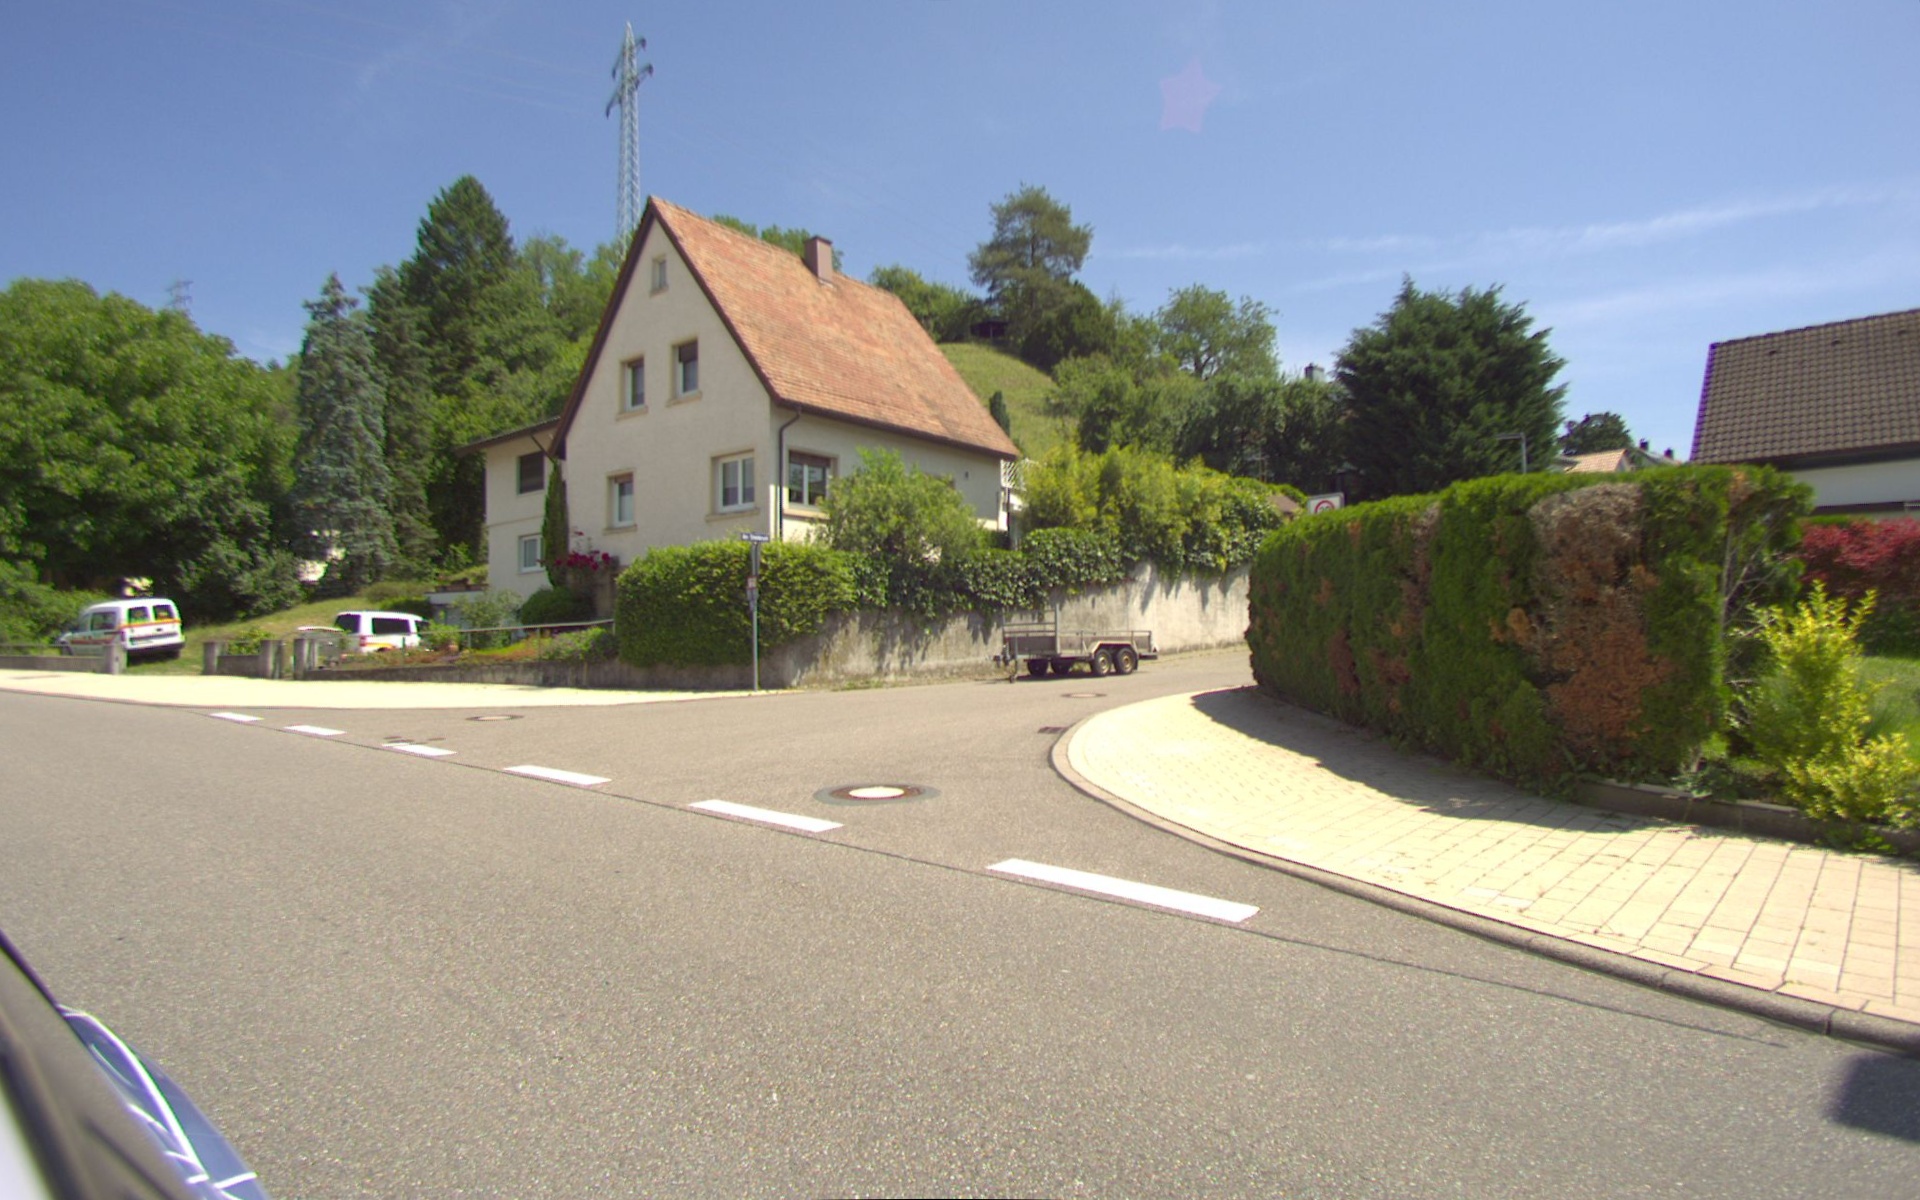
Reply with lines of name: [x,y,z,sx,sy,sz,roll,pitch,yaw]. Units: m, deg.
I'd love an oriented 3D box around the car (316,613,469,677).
car: [-17.887,1.440,32.078,1.799,1.803,3.969,-5,-5,23]

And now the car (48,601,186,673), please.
car: [-24.484,1.068,29.377,3.980,1.963,1.689,-1,-2,27]

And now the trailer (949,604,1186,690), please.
trailer: [2.333,0.909,21.116,4.999,1.516,2.003,-1,-1,-40]
